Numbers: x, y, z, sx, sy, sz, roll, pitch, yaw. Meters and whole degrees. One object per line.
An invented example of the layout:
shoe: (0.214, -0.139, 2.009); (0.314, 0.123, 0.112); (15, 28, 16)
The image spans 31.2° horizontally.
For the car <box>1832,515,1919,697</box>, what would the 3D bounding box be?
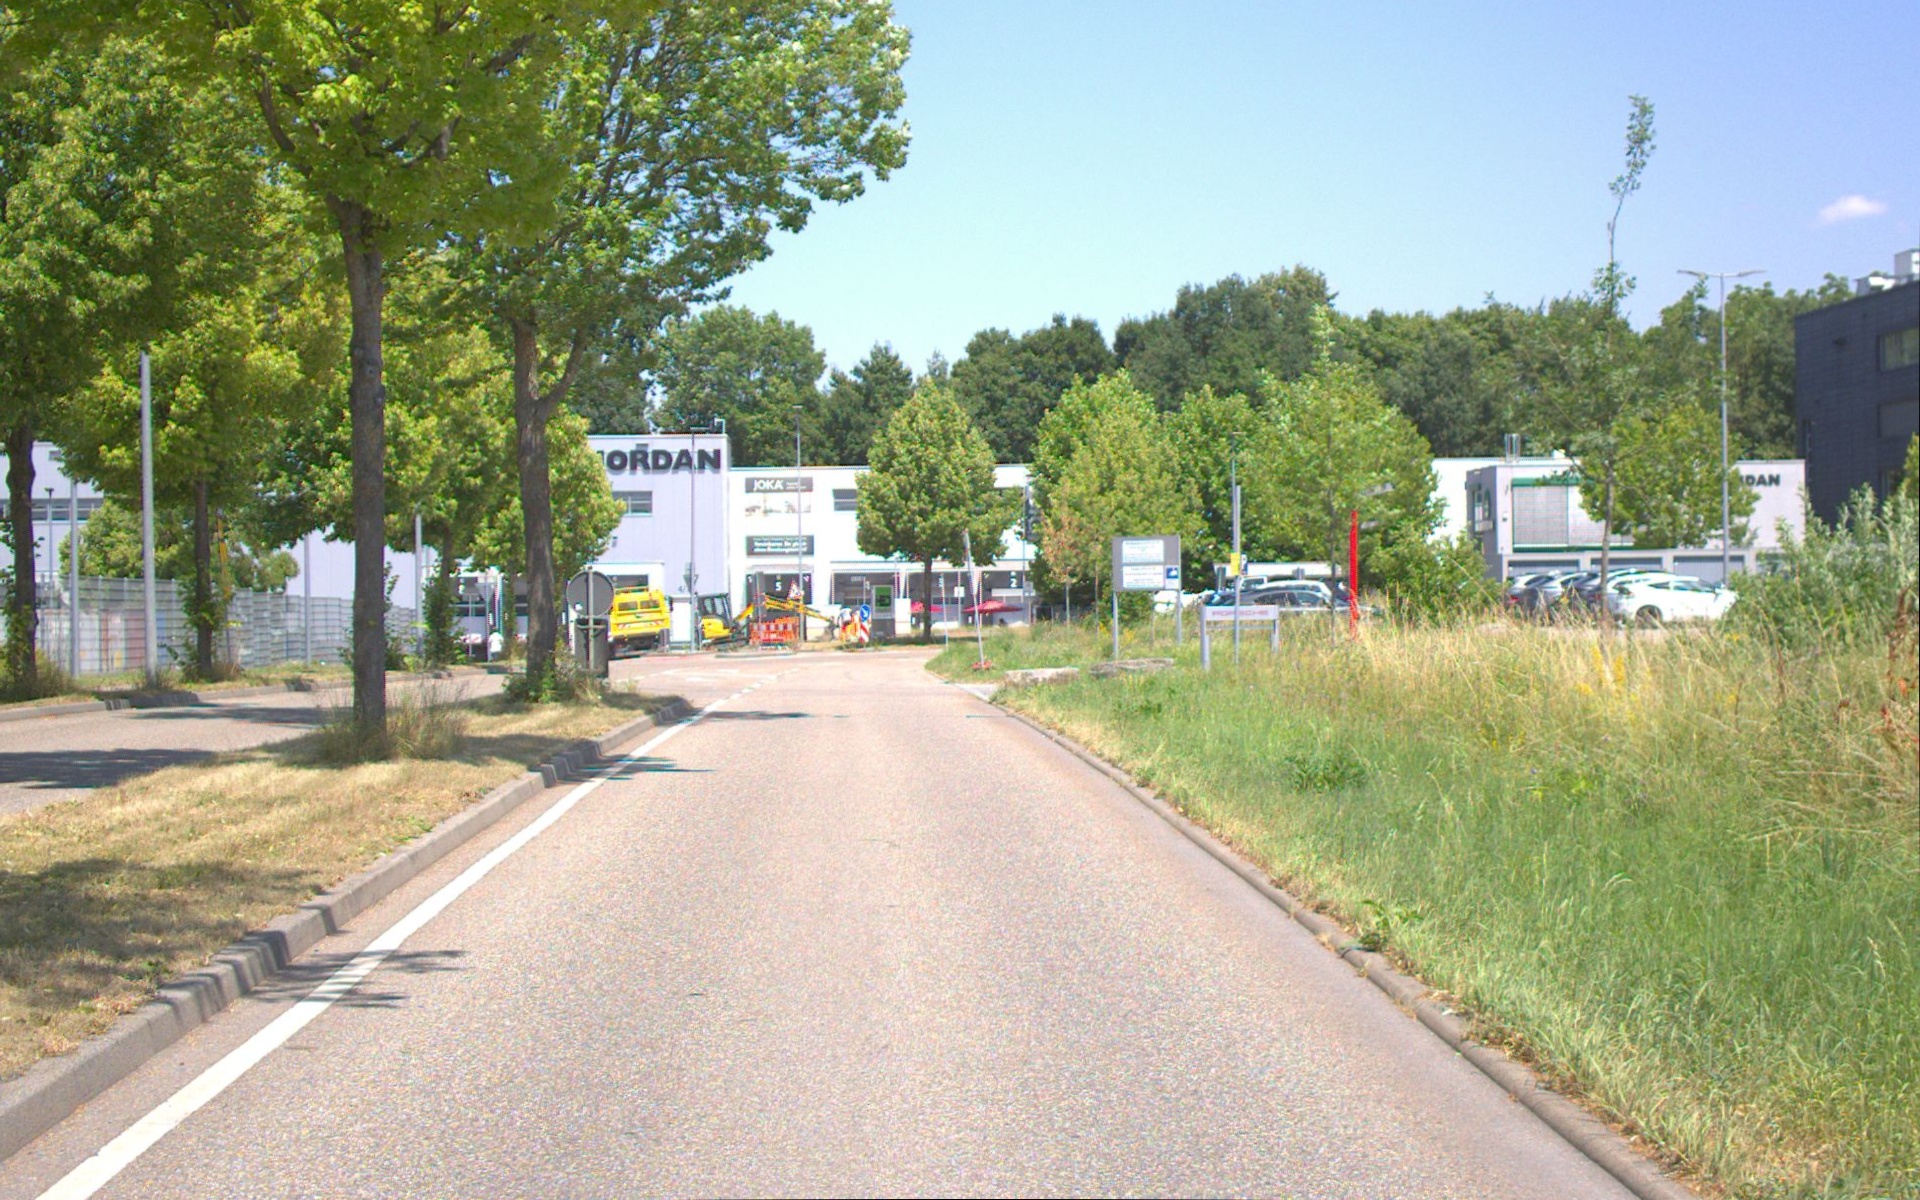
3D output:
car: (10.788, 0.007, 33.532); (3.986, 1.718, 1.927); (-2, 0, -2)

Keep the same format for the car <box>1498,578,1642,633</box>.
car: (18.680, 0.162, 105.402); (3.986, 1.395, 1.769); (-2, 3, -5)

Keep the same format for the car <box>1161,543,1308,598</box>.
car: (8.317, -0.906, 104.195); (4.162, 1.395, 1.769); (-2, 3, -5)

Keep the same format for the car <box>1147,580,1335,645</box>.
car: (7.274, 0.317, 89.301); (4.704, 1.395, 1.922); (-2, 3, 0)

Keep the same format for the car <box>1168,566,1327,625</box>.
car: (8.035, -0.135, 96.214); (4.162, 1.395, 1.769); (-2, 3, -5)

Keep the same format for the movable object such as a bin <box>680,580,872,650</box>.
movable object such as a bin: (-7.718, 0.604, 145.019); (7.528, 2.491, 3.666); (-2, 3, 6)

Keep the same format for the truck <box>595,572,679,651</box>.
truck: (-13.608, 0.428, 144.518); (2.938, 2.876, 5.812); (-3, 3, -10)

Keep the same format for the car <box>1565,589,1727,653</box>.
car: (18.898, 0.576, 94.799); (3.986, 1.485, 1.769); (-2, 3, -5)

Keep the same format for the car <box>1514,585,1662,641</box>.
car: (18.747, 0.392, 102.684); (3.986, 1.395, 1.769); (-2, 3, -5)

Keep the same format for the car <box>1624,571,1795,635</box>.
car: (19.495, 0.061, 89.475); (3.986, 1.395, 1.769); (-2, 3, -4)

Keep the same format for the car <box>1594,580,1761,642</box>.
car: (19.165, 0.280, 91.904); (3.986, 1.395, 1.769); (-2, 3, -5)
